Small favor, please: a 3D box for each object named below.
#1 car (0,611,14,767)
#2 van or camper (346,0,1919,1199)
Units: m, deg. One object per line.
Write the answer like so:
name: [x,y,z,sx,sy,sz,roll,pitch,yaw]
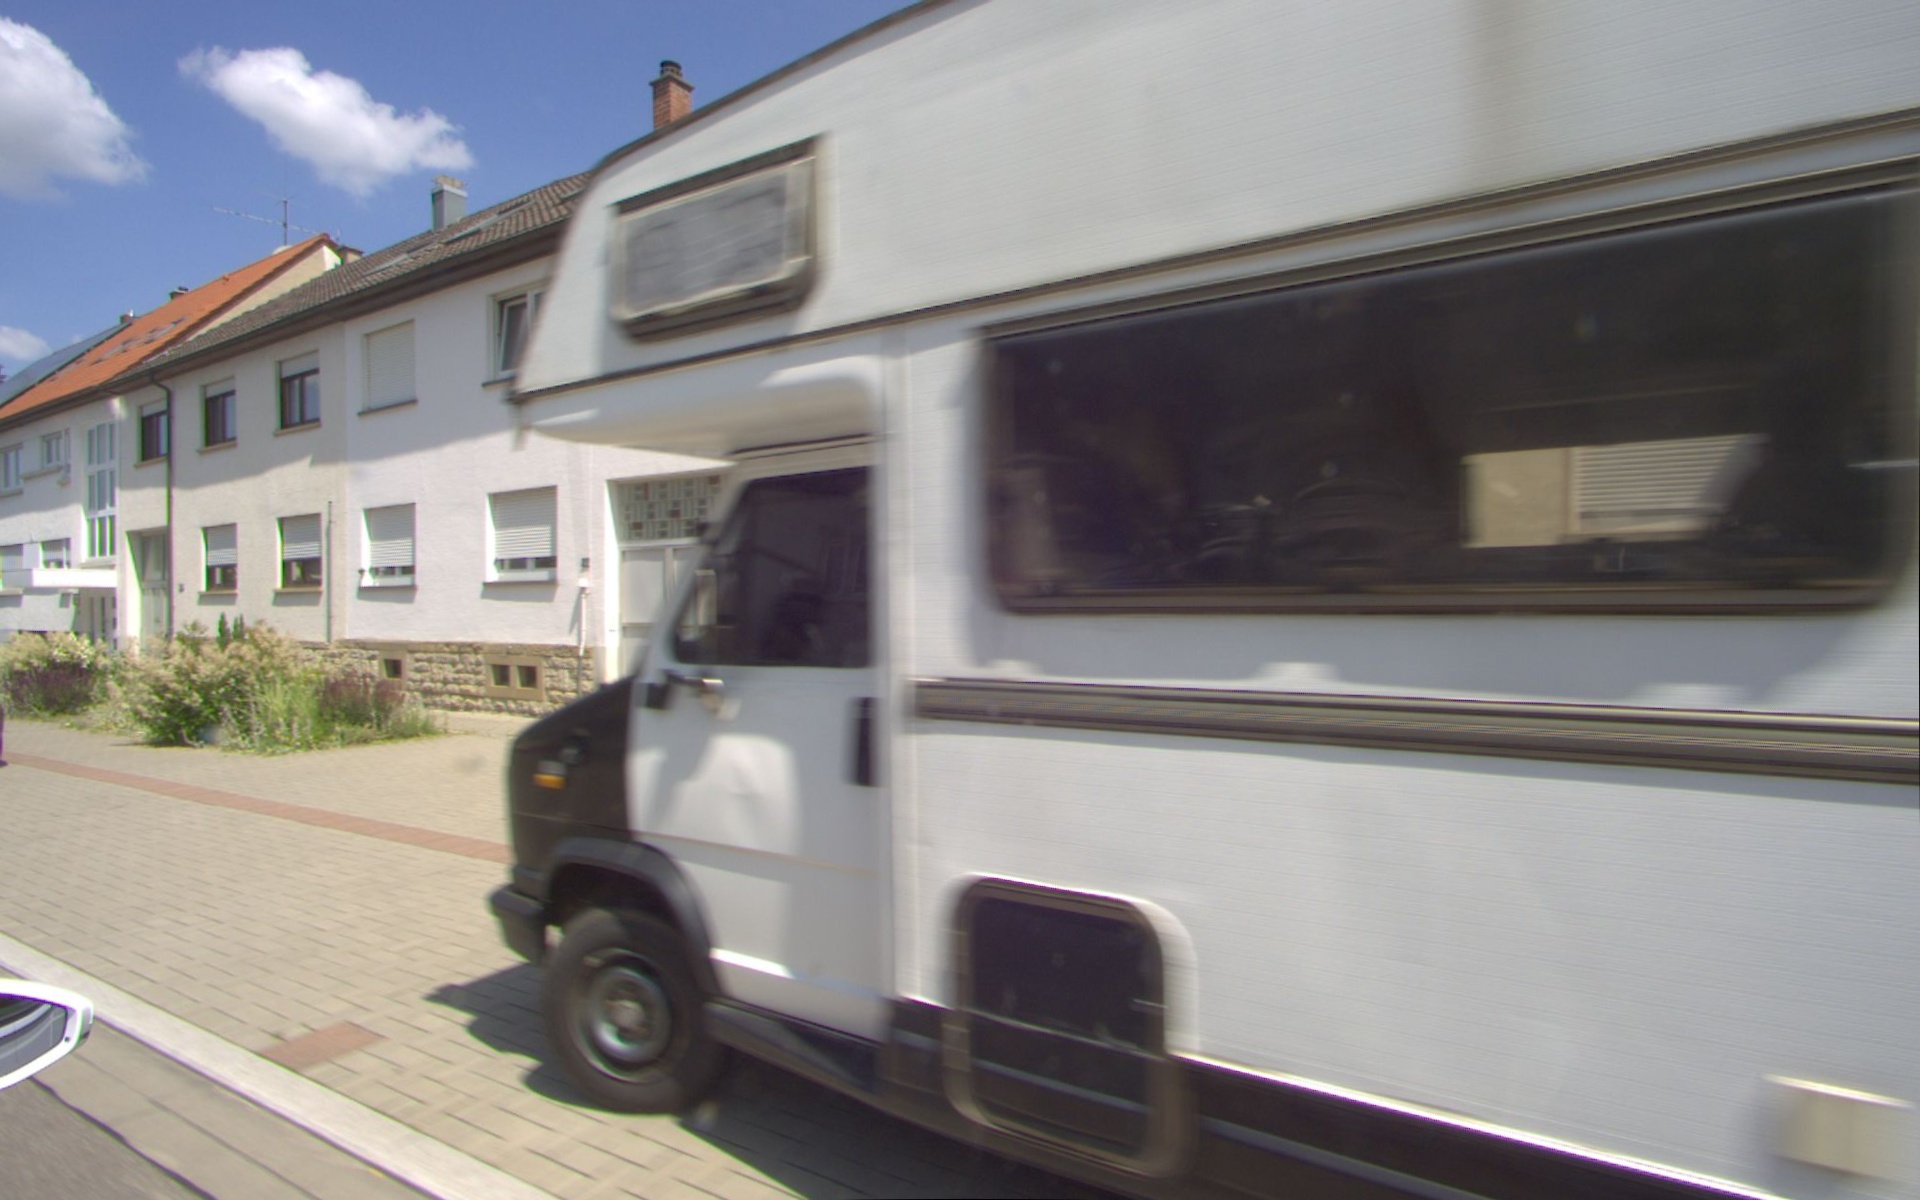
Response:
car: [-11.558,0.891,10.311,3.950,1.549,1.763,-1,-1,33]
van or camper: [1.086,0.029,2.790,5.707,2.848,2.468,0,1,32]
